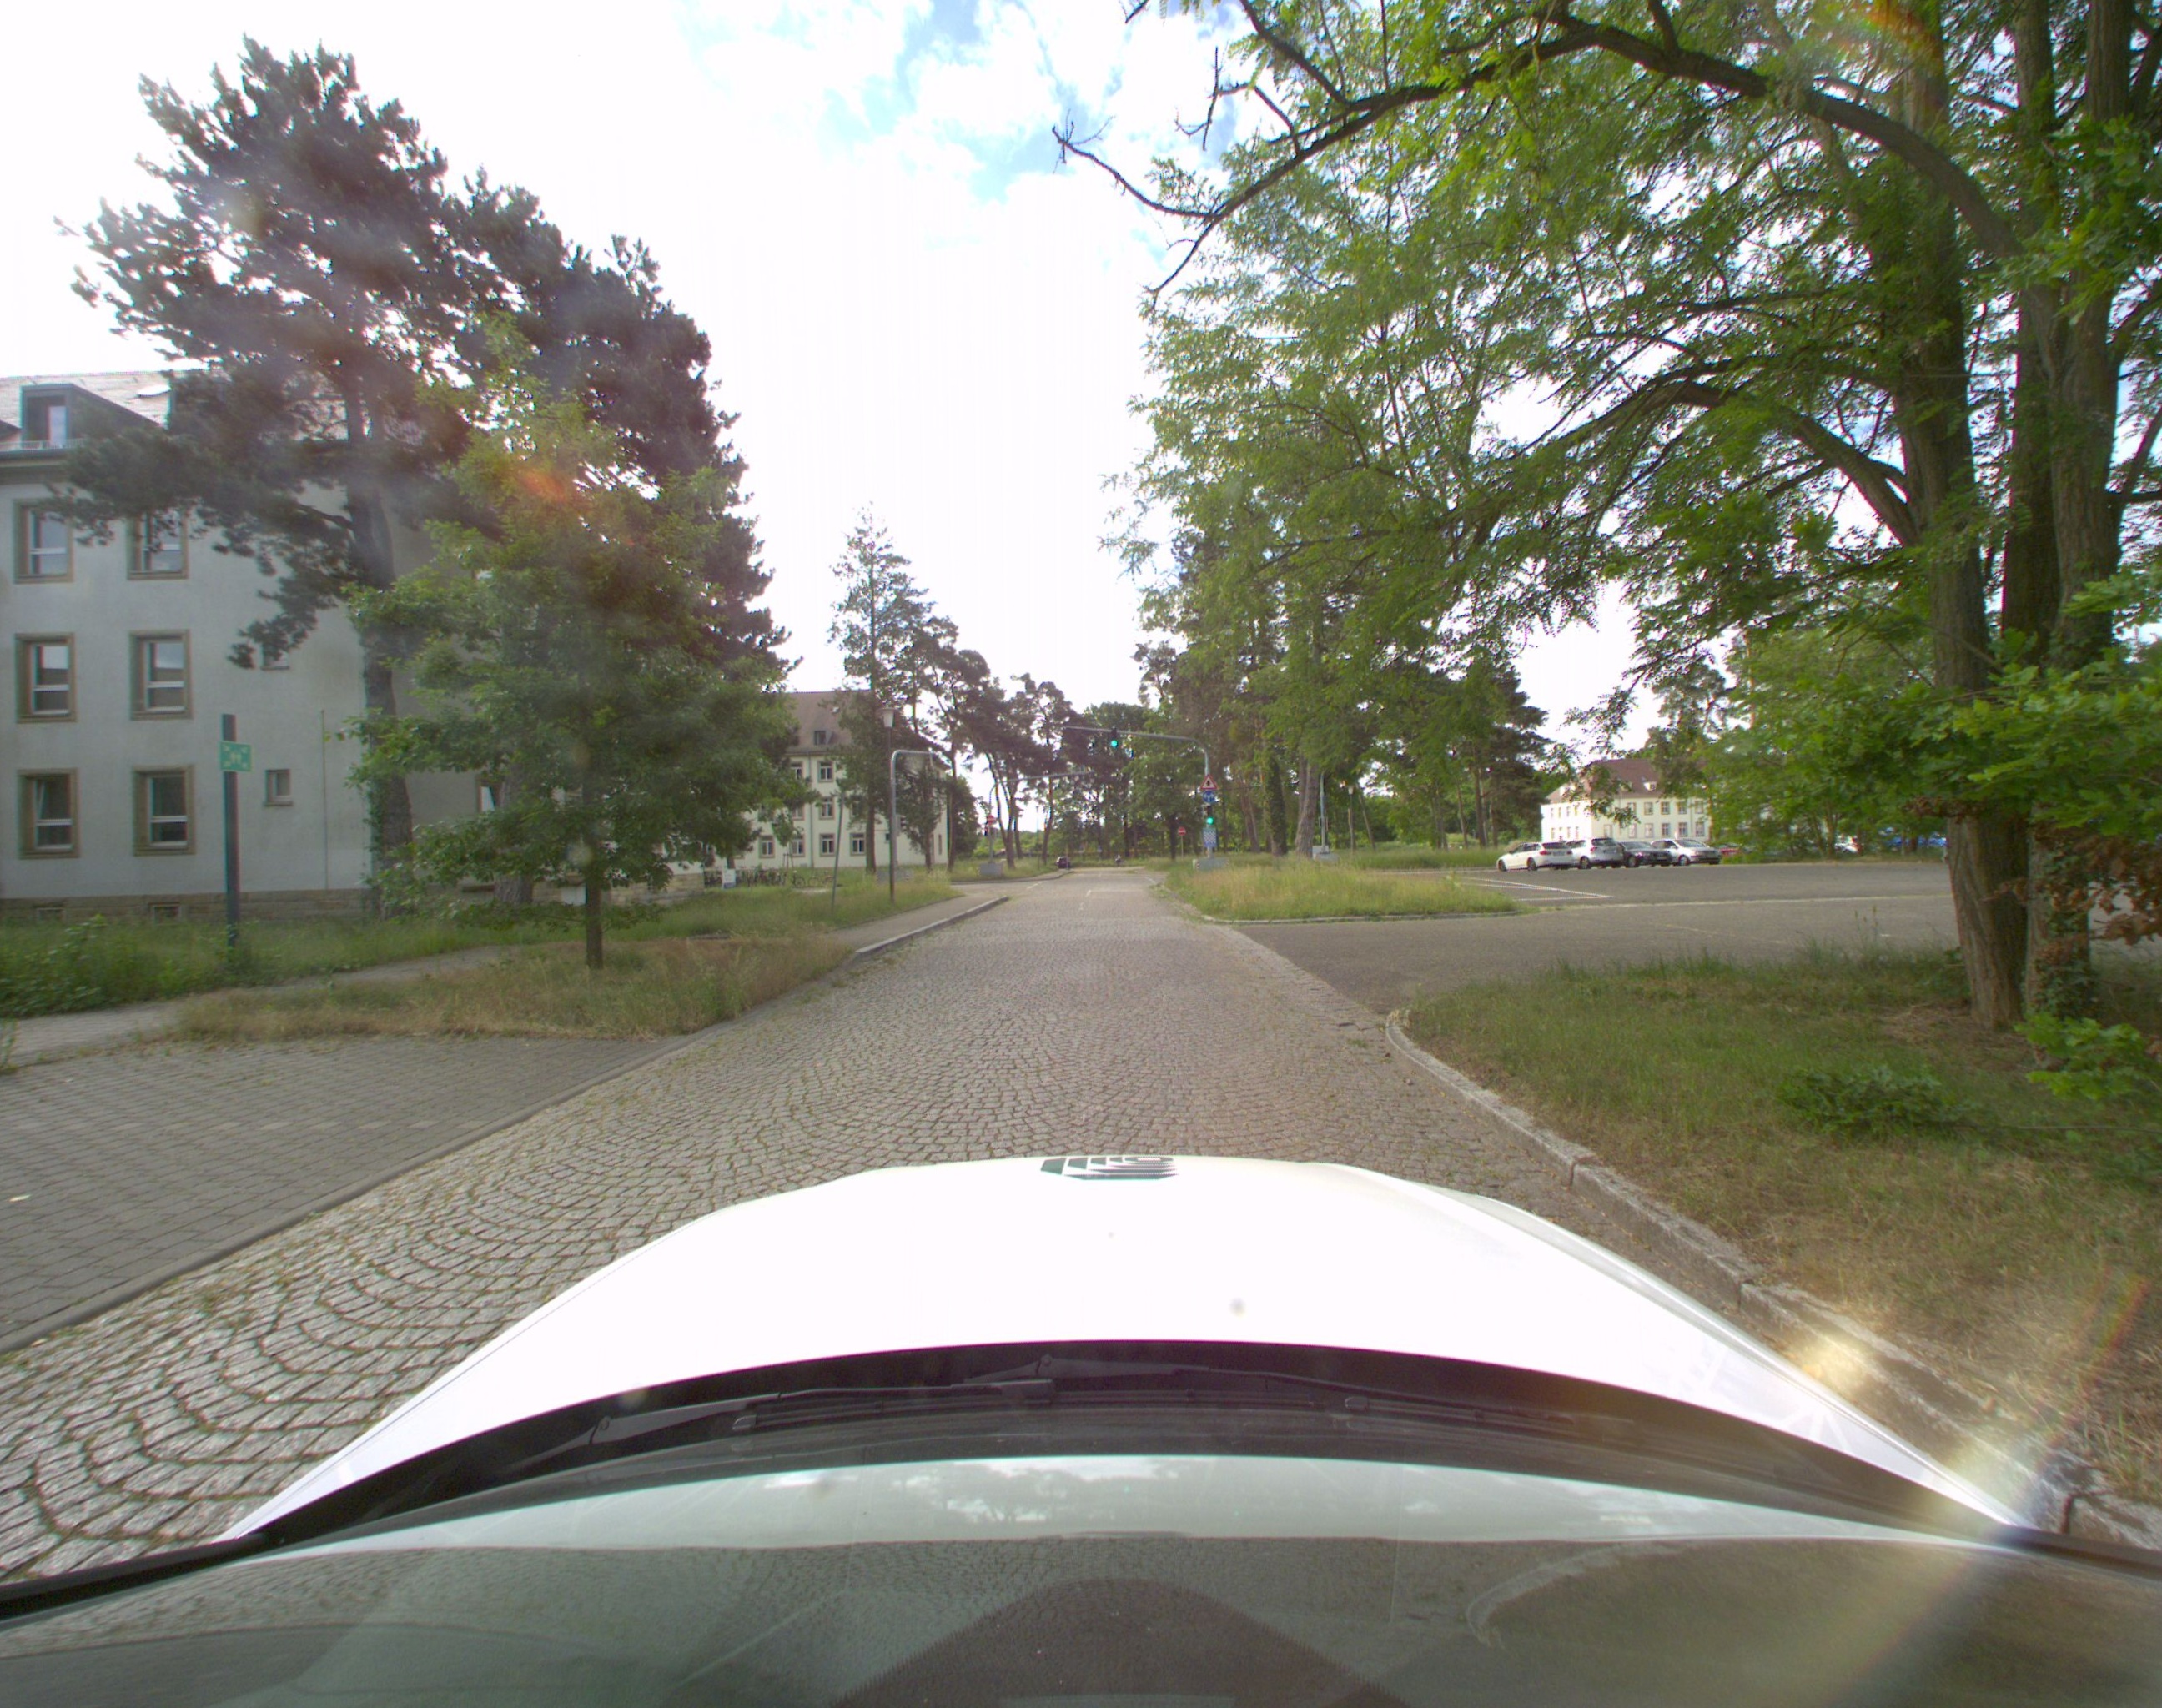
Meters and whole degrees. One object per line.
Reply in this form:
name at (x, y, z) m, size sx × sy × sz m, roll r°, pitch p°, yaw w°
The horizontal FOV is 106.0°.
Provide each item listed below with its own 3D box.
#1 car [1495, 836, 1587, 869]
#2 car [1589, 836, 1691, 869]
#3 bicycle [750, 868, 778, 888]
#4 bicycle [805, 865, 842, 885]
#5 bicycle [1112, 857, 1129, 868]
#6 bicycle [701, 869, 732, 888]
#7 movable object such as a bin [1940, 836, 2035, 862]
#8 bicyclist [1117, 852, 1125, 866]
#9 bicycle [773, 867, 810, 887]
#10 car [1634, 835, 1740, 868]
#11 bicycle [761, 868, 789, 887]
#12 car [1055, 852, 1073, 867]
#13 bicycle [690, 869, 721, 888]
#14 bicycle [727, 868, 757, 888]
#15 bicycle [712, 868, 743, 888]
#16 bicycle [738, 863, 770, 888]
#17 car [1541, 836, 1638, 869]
car at (22.833, -0.027, 40.665) m, size 1.988 × 1.481 × 4.422 m, roll -2°, pitch -2°, yaw -2°
car at (28.017, -0.044, 41.024) m, size 1.988 × 1.481 × 4.422 m, roll -2°, pitch -2°, yaw -2°
bicycle at (-19.025, 1.419, 48.921) m, size 0.733 × 1.076 × 2.274 m, roll -2°, pitch 0°, yaw 2°
bicycle at (-15.060, 1.234, 47.701) m, size 1.848 × 1.076 × 0.832 m, roll -2°, pitch 0°, yaw 3°
bicycle at (4.811, 0.983, 99.073) m, size 1.975 × 1.320 × 0.515 m, roll 0°, pitch -1°, yaw -19°
bicycle at (-21.940, 1.455, 49.029) m, size 0.733 × 1.076 × 2.274 m, roll -2°, pitch 0°, yaw 2°
movable object such as a bin at (31.246, -0.180, 28.117) m, size 1.179 × 0.825 × 1.957 m, roll -2°, pitch 0°, yaw 6°
bicyclist at (4.867, 0.656, 99.085) m, size 0.751 × 1.671 × 0.523 m, roll 0°, pitch -1°, yaw -19°
bicycle at (-16.941, 1.343, 47.704) m, size 1.848 × 1.076 × 0.739 m, roll -2°, pitch 0°, yaw 3°
car at (30.693, -0.072, 41.442) m, size 1.988 × 1.523 × 4.422 m, roll 0°, pitch -2°, yaw -2°
bicycle at (-18.383, 1.395, 48.987) m, size 0.733 × 1.076 × 2.274 m, roll -2°, pitch 0°, yaw 2°
car at (-2.144, 0.714, 104.788) m, size 2.048 × 1.846 × 4.001 m, roll -2°, pitch 0°, yaw 1°
bicycle at (-22.646, 1.465, 49.122) m, size 0.733 × 1.076 × 2.274 m, roll -2°, pitch 0°, yaw 2°
bicycle at (-20.551, 1.446, 49.420) m, size 0.733 × 1.076 × 2.274 m, roll -2°, pitch 0°, yaw 2°
bicycle at (-21.212, 1.437, 48.941) m, size 0.733 × 1.076 × 2.274 m, roll -2°, pitch 0°, yaw 2°
bicycle at (-19.759, 1.292, 49.293) m, size 0.733 × 1.385 × 2.713 m, roll -2°, pitch 0°, yaw 2°
car at (25.348, -0.036, 40.790) m, size 1.988 × 1.481 × 4.422 m, roll -2°, pitch -2°, yaw -2°
